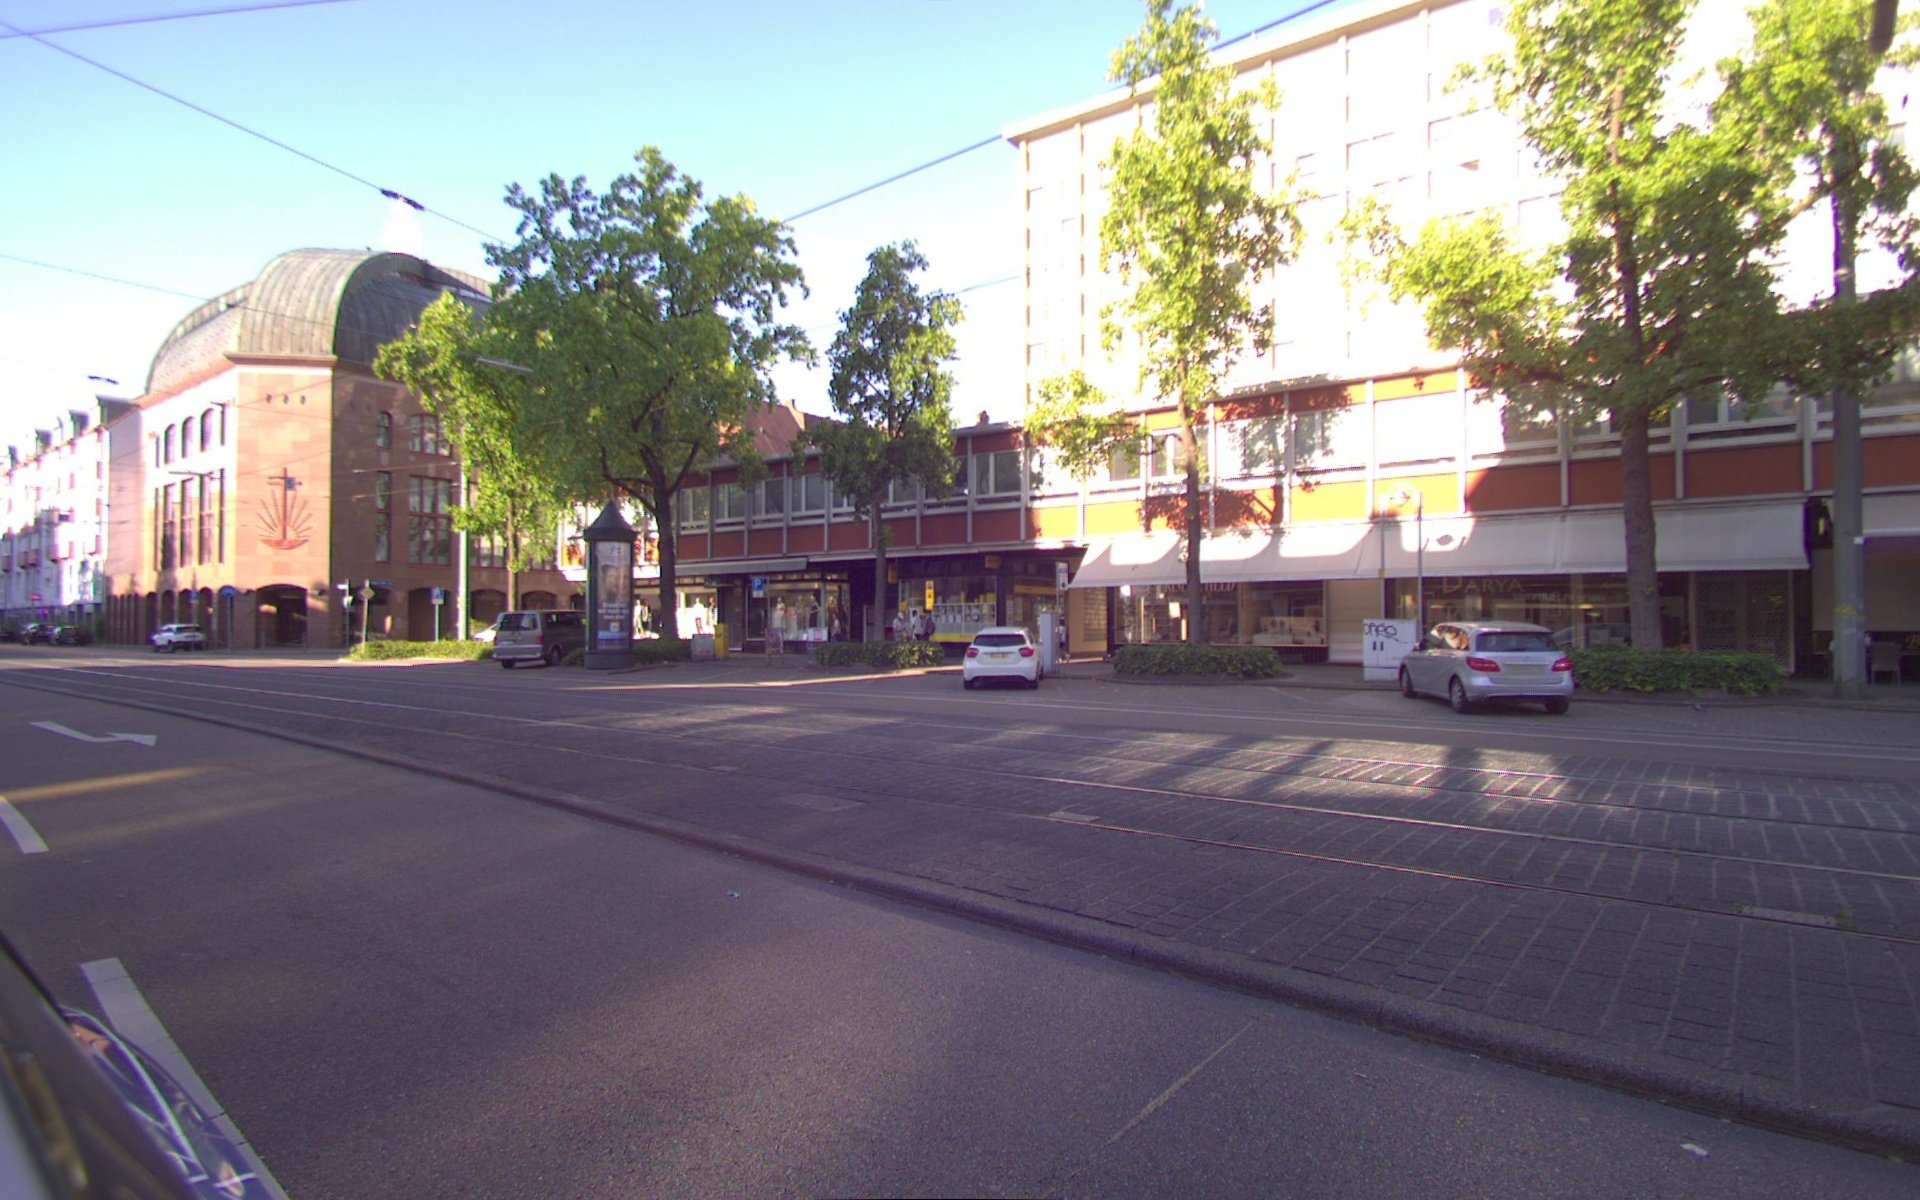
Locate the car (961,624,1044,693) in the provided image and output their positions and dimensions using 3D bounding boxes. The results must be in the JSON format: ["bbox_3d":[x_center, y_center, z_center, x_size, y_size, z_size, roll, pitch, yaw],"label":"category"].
[{"bbox_3d":[1.146,1.386,25.168,1.745,1.440,4.261,-1,0,7],"label":"car"}]

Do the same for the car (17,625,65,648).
[{"bbox_3d":[-71.551,2.851,78.750,4.552,1.713,1.941,-1,-1,37],"label":"car"}]

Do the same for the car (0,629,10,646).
[{"bbox_3d":[-86.560,3.374,90.453,4.555,1.520,1.807,-1,-1,38],"label":"car"}]

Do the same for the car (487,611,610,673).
[{"bbox_3d":[-14.412,1.419,35.816,1.831,1.943,5.112,0,0,6],"label":"car"}]

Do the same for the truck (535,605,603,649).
[{"bbox_3d":[-25.424,1.767,65.740,4.519,2.784,1.835,-1,-2,34],"label":"truck"}]

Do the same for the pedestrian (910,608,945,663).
[{"bbox_3d":[-1.142,1.249,35.688,0.895,1.892,0.911,-1,-2,26],"label":"pedestrian"}]

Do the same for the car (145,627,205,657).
[{"bbox_3d":[-45.103,2.364,58.131,4.269,1.602,1.581,-1,0,36],"label":"car"}]

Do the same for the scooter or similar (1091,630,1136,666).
[{"bbox_3d":[4.887,1.520,32.176,1.335,1.102,0.470,-1,-1,36],"label":"scooter or similar"}]

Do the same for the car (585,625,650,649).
[{"bbox_3d":[-23.263,2.524,68.682,4.519,1.585,1.835,-1,-2,34],"label":"car"}]

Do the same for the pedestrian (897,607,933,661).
[{"bbox_3d":[-1.664,1.258,37.343,0.898,1.963,0.984,-1,-2,36],"label":"pedestrian"}]

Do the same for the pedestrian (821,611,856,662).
[{"bbox_3d":[-4.517,1.351,37.647,0.898,1.892,0.908,-1,-2,36],"label":"pedestrian"}]

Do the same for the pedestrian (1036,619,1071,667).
[{"bbox_3d":[2.993,1.362,32.340,0.898,1.509,0.681,-1,-2,36],"label":"pedestrian"}]

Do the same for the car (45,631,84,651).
[{"bbox_3d":[-66.035,3.030,74.617,3.679,1.411,1.626,-1,-1,39],"label":"car"}]

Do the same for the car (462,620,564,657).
[{"bbox_3d":[-25.742,2.182,58.460,2.128,1.982,4.934,2,0,36],"label":"car"}]

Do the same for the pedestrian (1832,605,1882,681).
[{"bbox_3d":[19.089,0.912,21.546,0.705,1.575,0.864,-2,-2,38],"label":"pedestrian"}]

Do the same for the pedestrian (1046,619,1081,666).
[{"bbox_3d":[3.367,1.376,32.936,0.898,1.481,0.681,-1,-2,36],"label":"pedestrian"}]

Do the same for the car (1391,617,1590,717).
[{"bbox_3d":[9.565,1.125,18.657,1.805,1.578,4.271,0,0,7],"label":"car"}]

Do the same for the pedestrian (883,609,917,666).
[{"bbox_3d":[-2.055,1.282,34.582,0.903,1.892,0.903,1,-2,-24],"label":"pedestrian"}]
